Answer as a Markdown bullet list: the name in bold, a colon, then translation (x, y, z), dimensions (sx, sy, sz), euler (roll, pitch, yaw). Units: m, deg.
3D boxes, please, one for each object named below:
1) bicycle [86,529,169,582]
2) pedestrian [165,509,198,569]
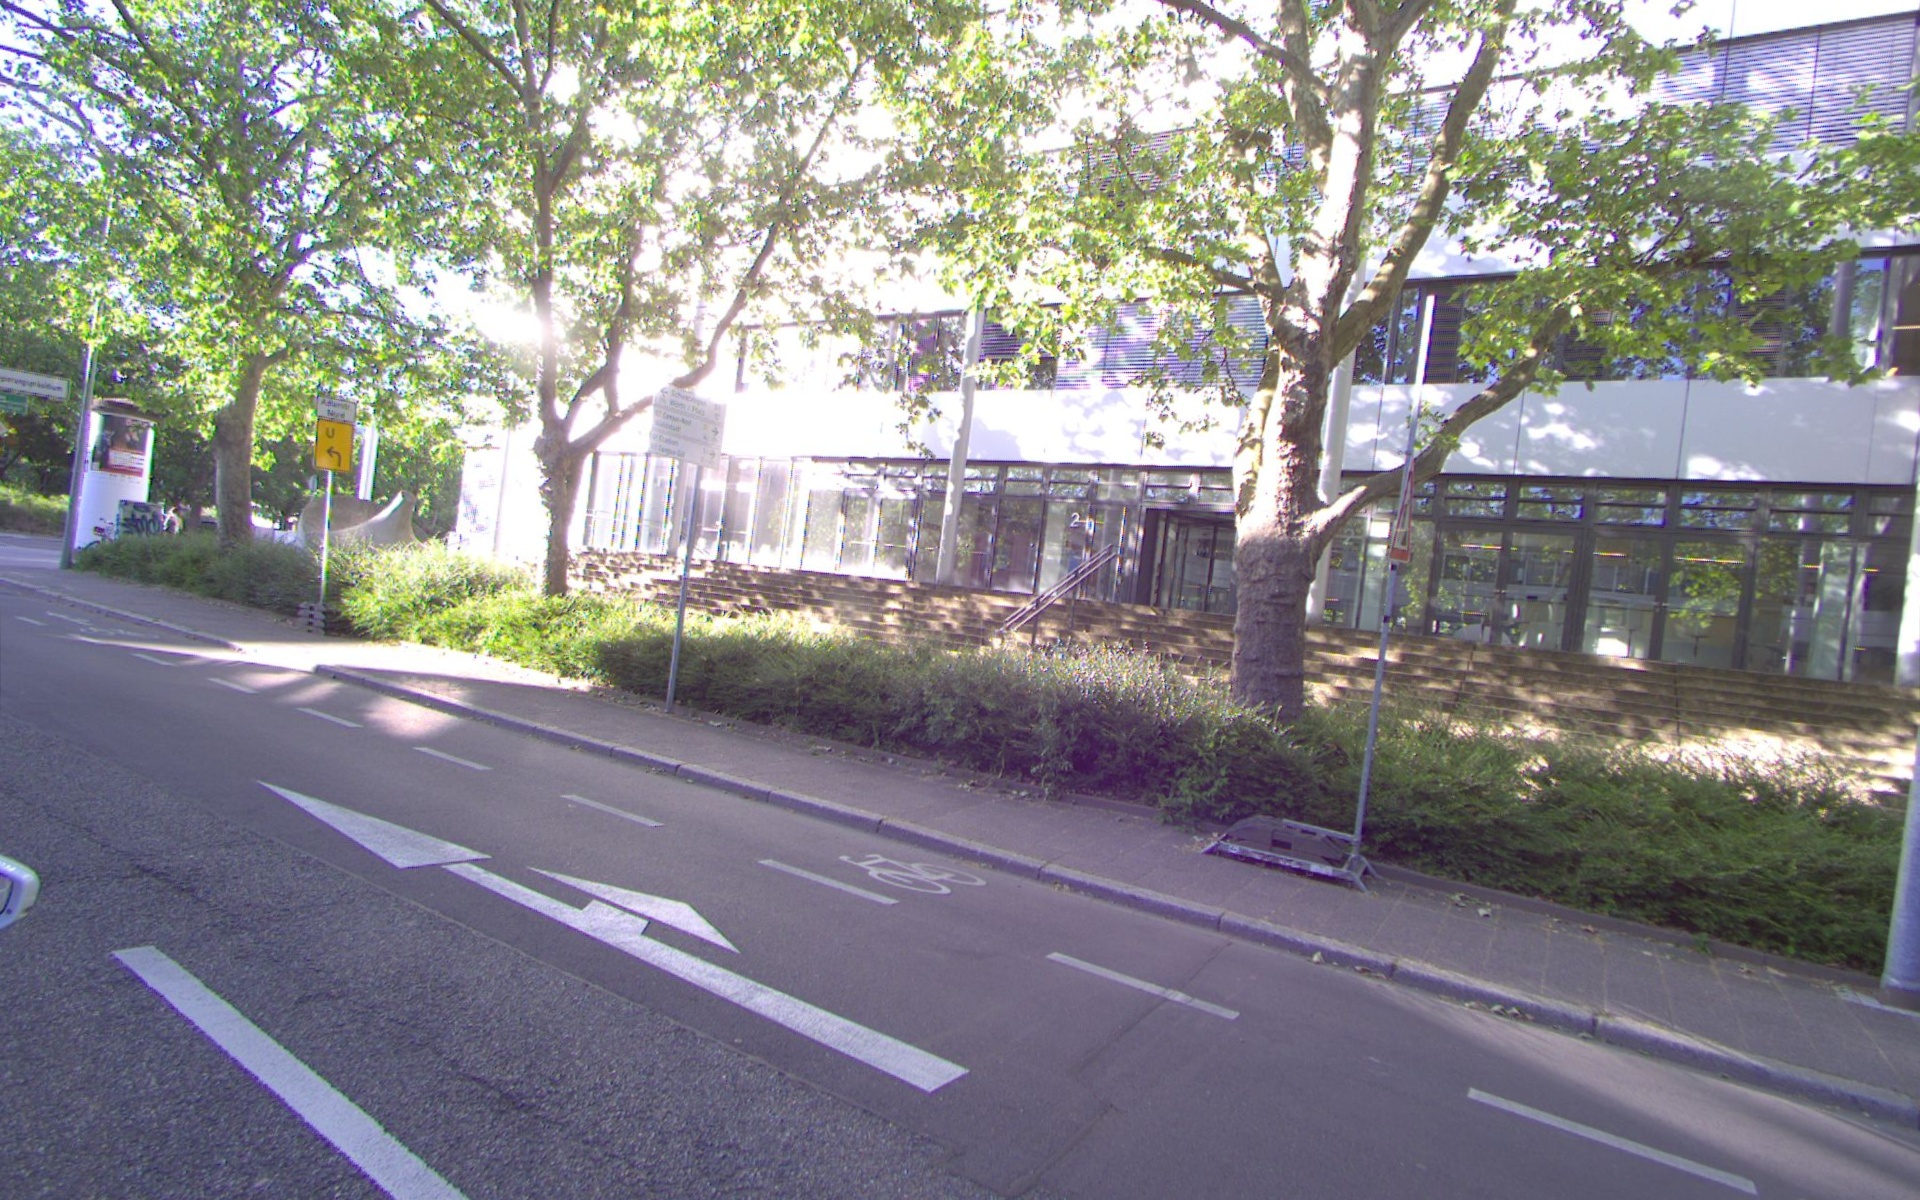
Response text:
- **bicycle**: translation (-19.206, -1.010, 23.222), dimensions (0.357, 1.036, 1.354), euler (7, -1, 33)
- **pedestrian**: translation (-25.746, -2.006, 33.274), dimensions (0.584, 1.871, 0.552), euler (7, 0, 33)
